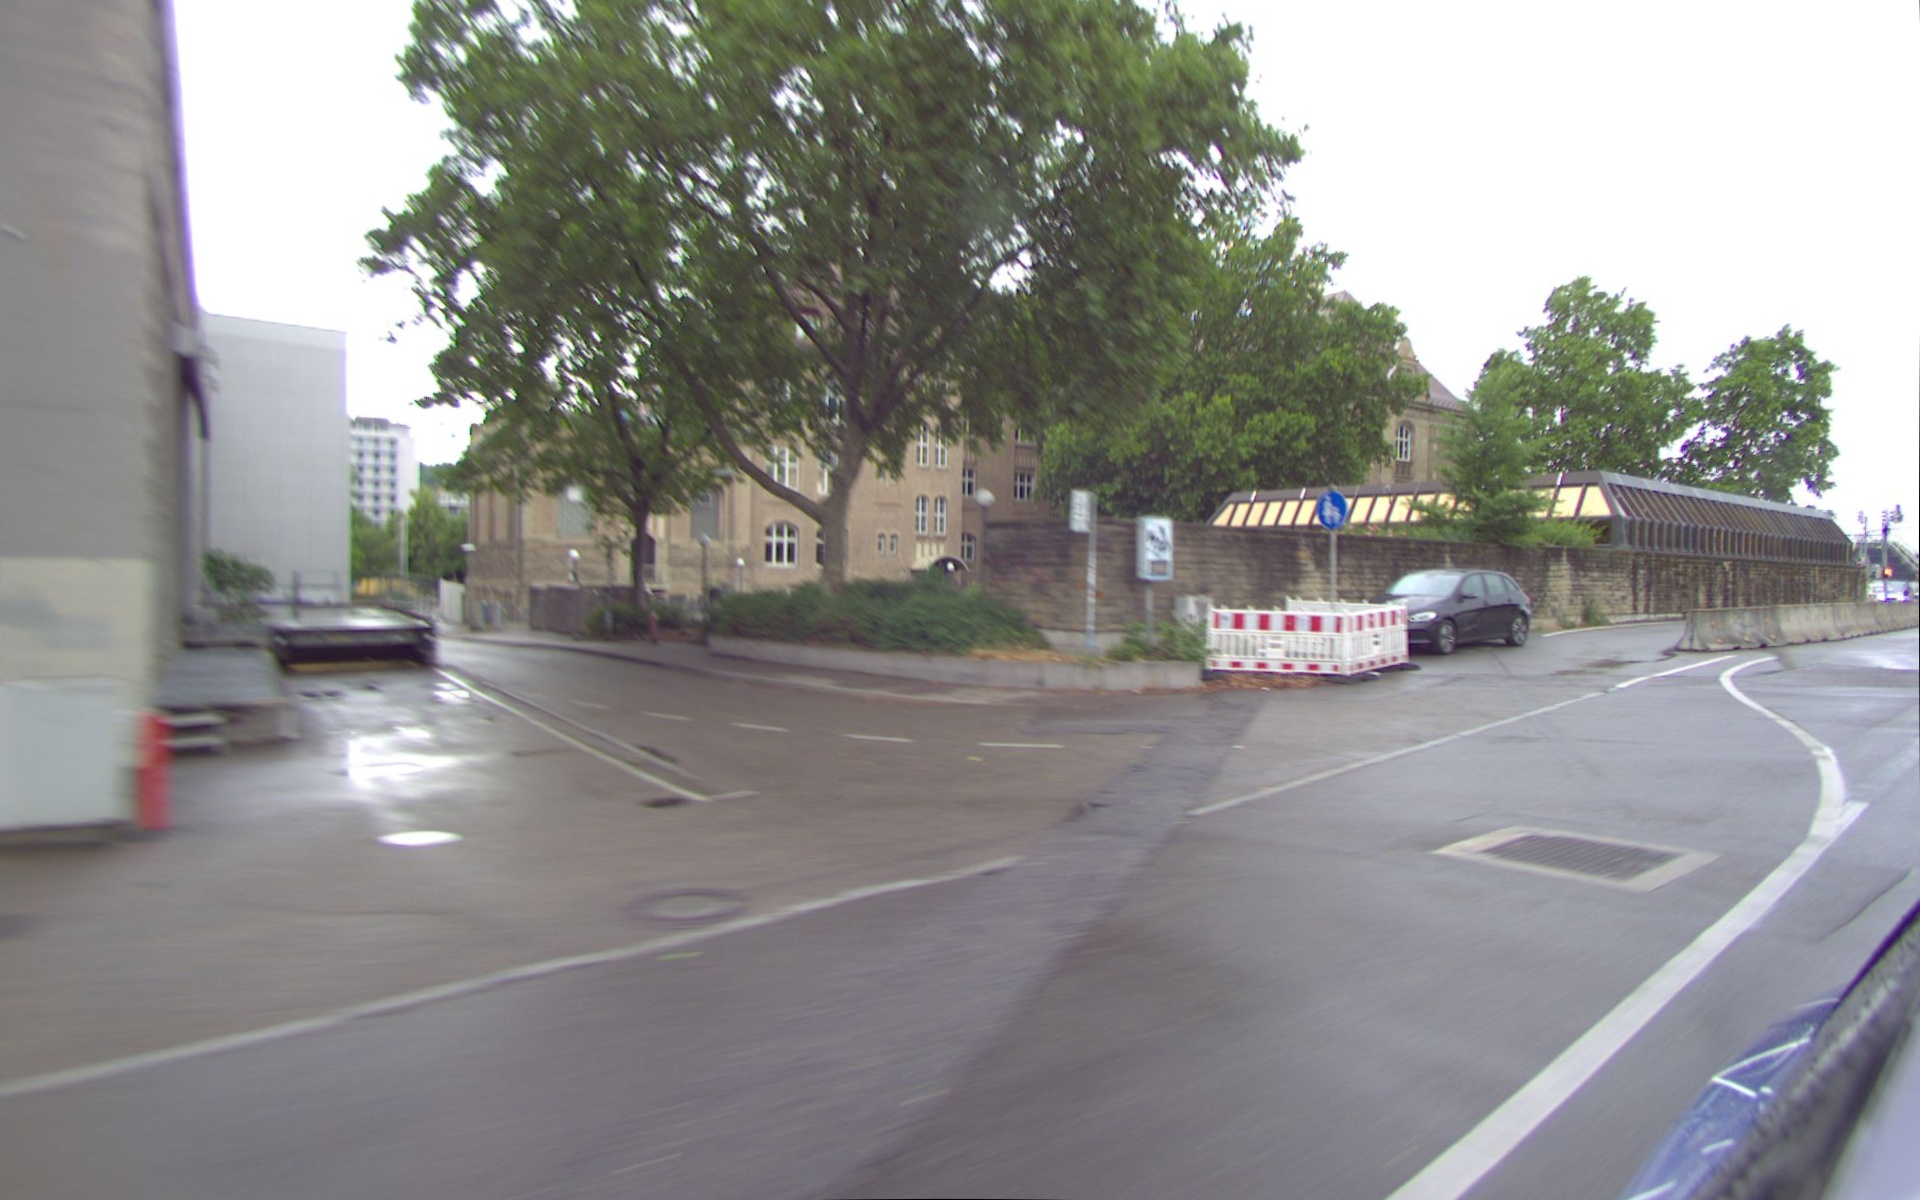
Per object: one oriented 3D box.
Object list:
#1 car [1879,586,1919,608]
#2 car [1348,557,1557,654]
[{"bbox_3d":[86.560,-0.278,93.117,1.983,2.039,4.377,0,0,30],"label":"car"},{"bbox_3d":[9.787,0.025,20.022,4.244,1.570,1.812,-3,6,-34],"label":"car"}]
